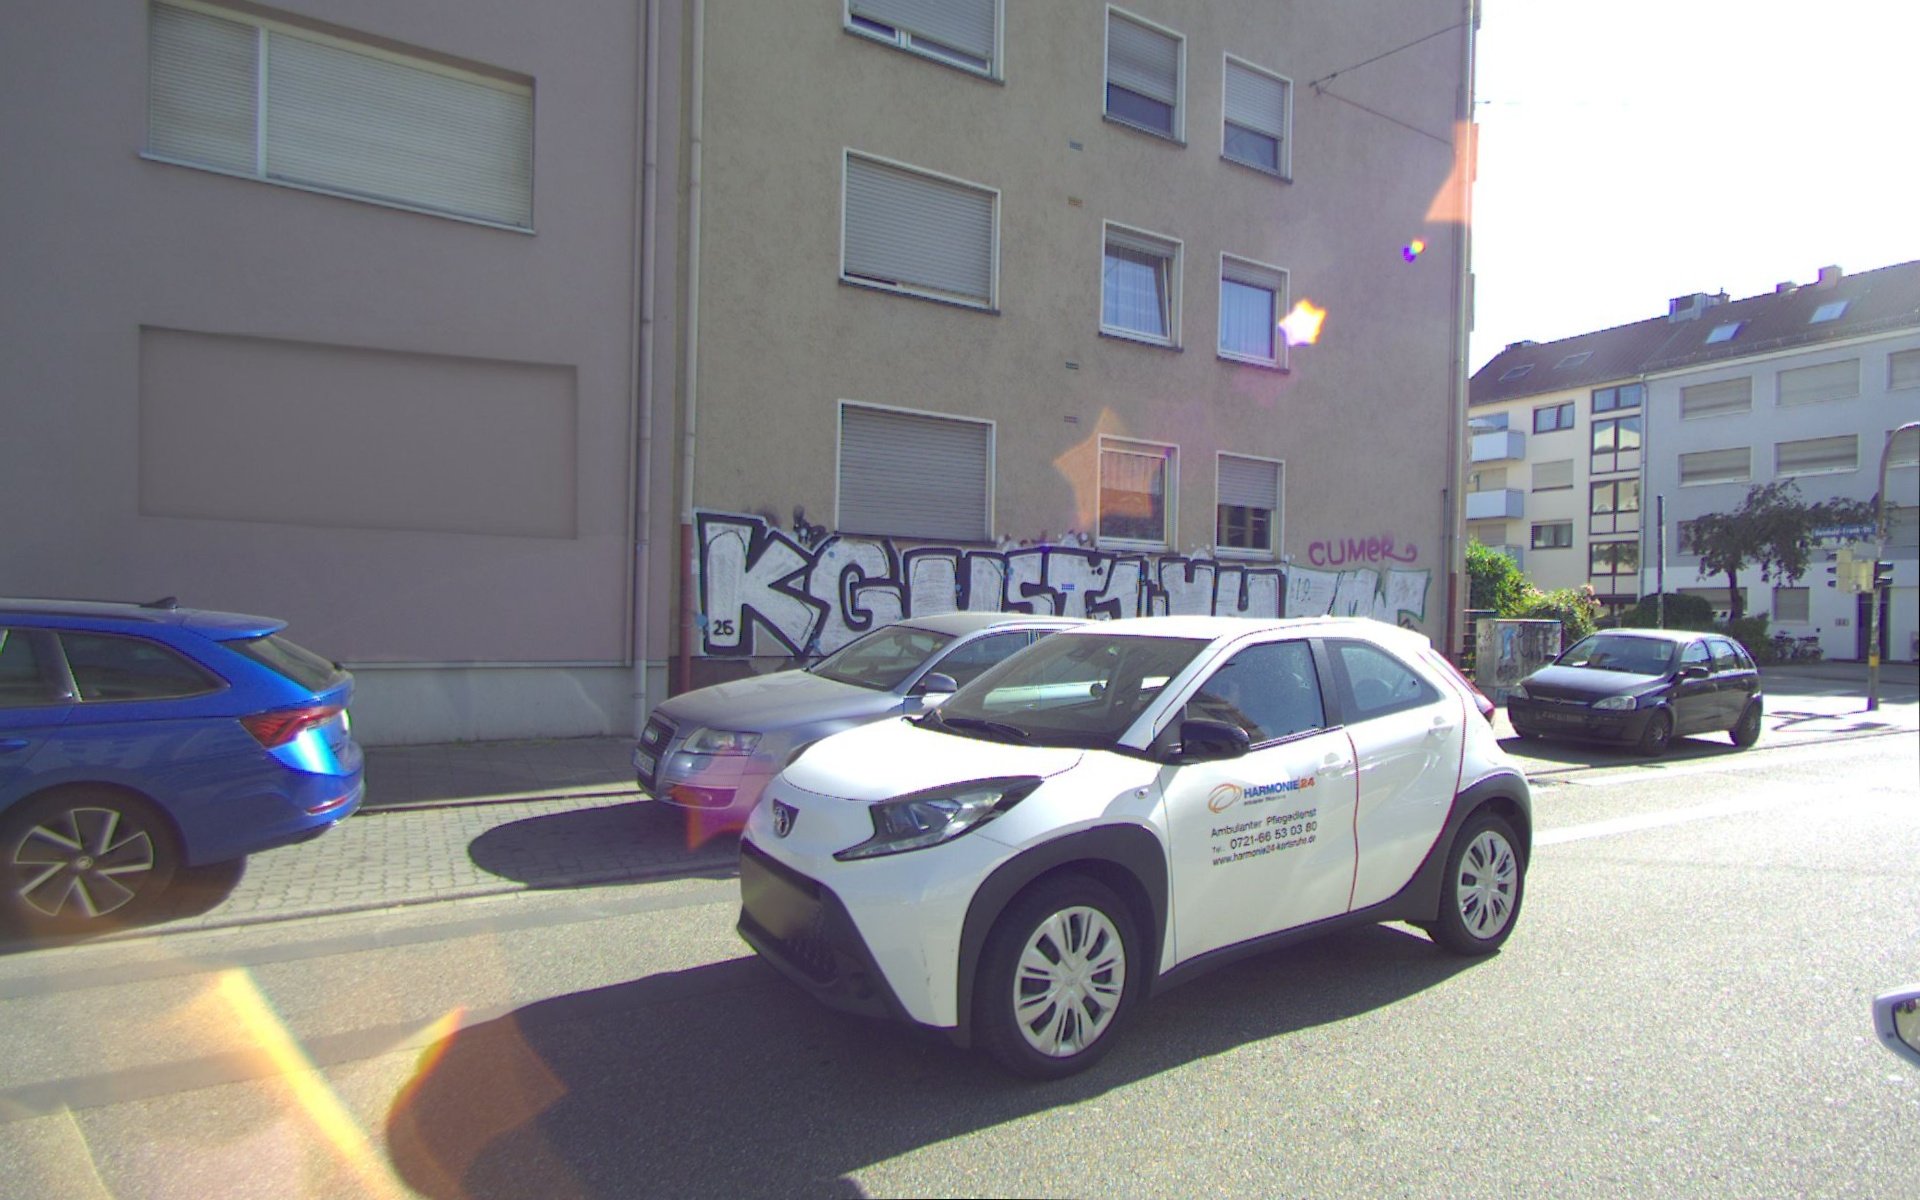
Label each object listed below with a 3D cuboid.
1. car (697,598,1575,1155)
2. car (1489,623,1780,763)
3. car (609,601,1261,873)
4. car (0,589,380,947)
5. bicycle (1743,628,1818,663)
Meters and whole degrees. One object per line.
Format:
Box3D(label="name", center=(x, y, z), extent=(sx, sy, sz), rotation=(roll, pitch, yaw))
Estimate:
Box3D(label="car", center=(0.919, 0.810, 4.572), extent=(3.745, 1.557, 1.755), rotation=(1, 0, -33))
Box3D(label="car", center=(8.648, 1.092, 12.831), extent=(3.667, 1.444, 1.608), rotation=(1, 2, -31))
Box3D(label="car", center=(-0.044, 0.836, 7.708), extent=(4.759, 1.485, 1.708), rotation=(1, 2, -31))
Box3D(label="car", center=(-5.323, 0.707, 4.620), extent=(4.559, 1.485, 1.708), rotation=(1, 2, -31))
Box3D(label="bicycle", center=(29.729, 1.640, 36.424), extent=(2.068, 1.188, 0.738), rotation=(0, -1, 37))
